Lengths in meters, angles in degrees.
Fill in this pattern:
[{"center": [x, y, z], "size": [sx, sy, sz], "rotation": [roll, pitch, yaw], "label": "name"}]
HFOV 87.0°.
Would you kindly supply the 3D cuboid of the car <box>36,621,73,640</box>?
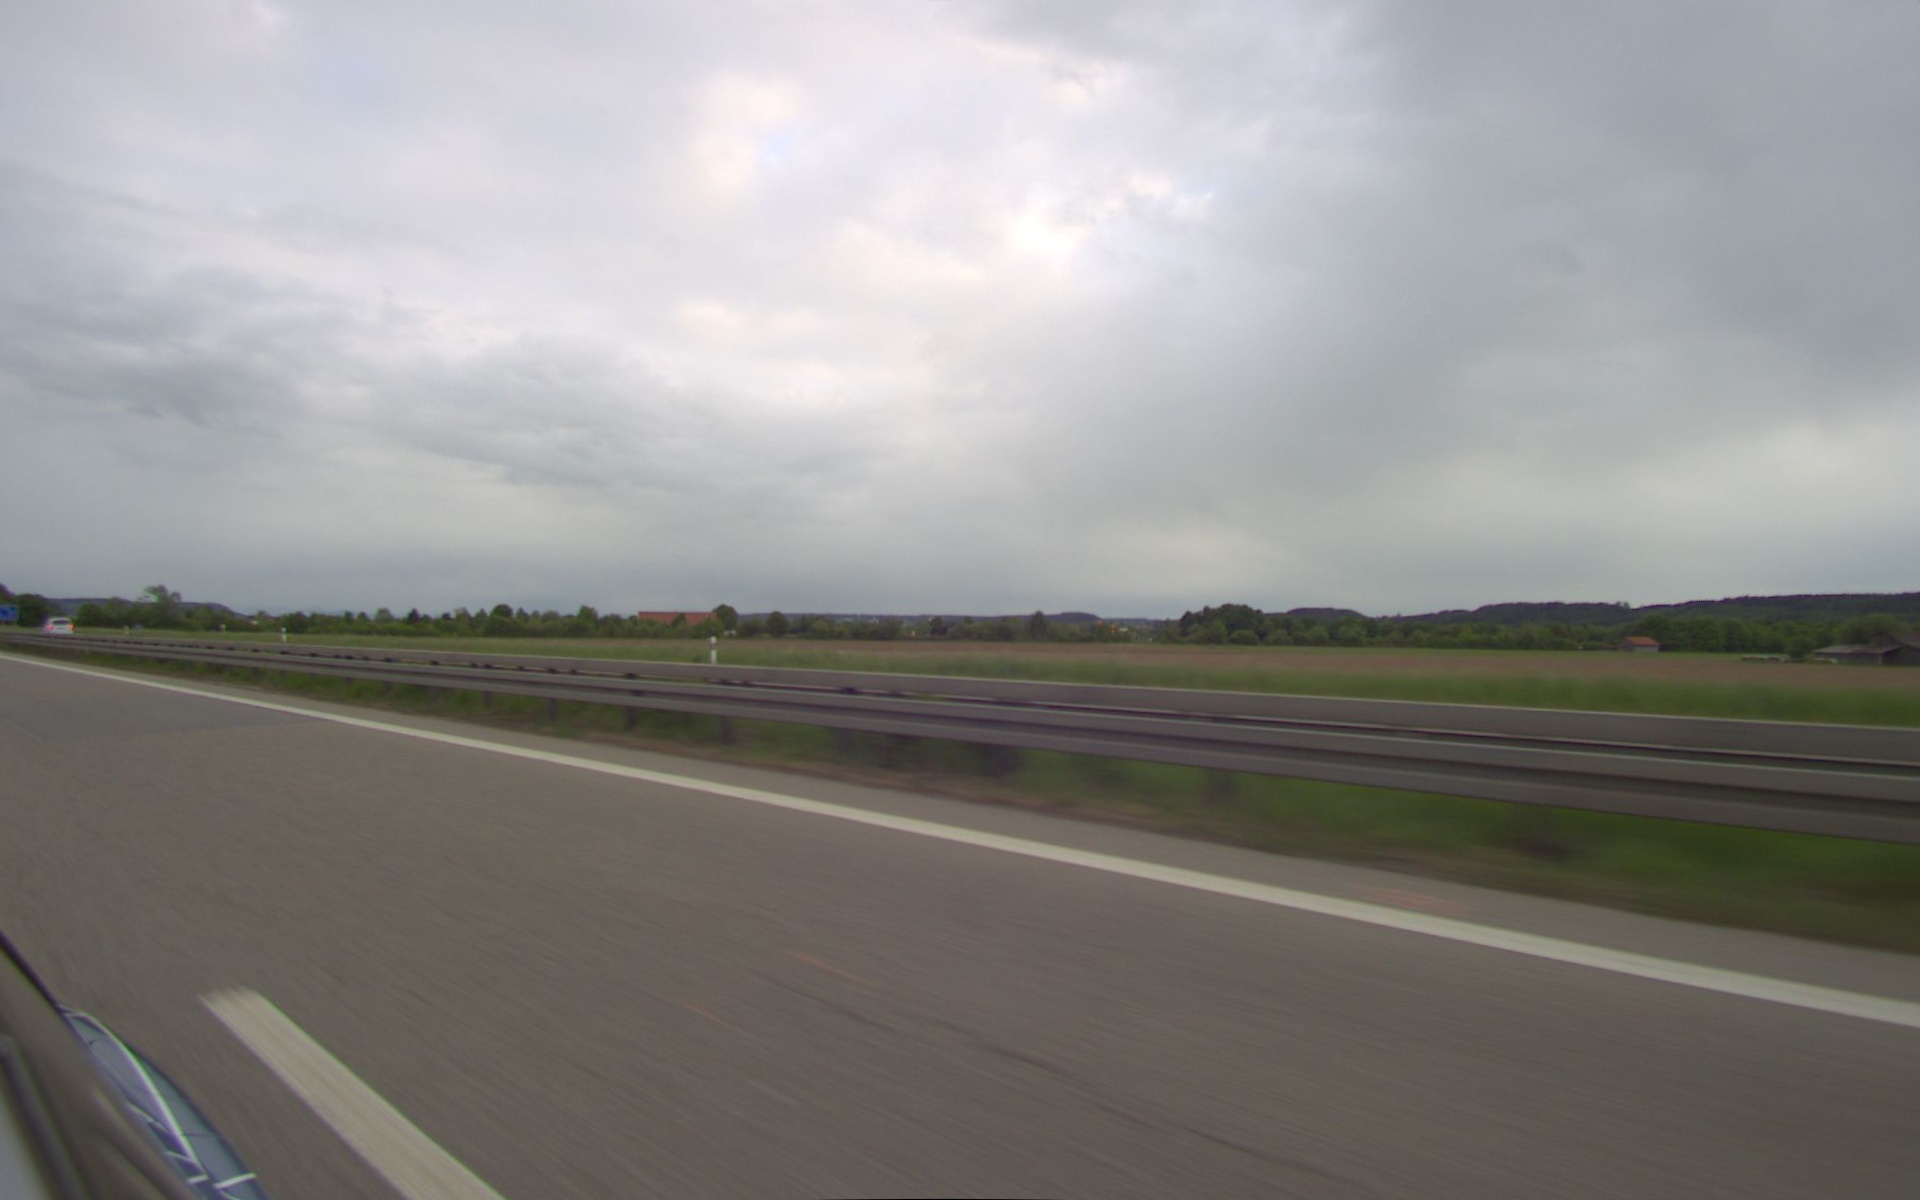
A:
[{"center": [-87.367, 2.906, 97.609], "size": [4.948, 1.778, 1.973], "rotation": [-1, 0, 40], "label": "car"}]
